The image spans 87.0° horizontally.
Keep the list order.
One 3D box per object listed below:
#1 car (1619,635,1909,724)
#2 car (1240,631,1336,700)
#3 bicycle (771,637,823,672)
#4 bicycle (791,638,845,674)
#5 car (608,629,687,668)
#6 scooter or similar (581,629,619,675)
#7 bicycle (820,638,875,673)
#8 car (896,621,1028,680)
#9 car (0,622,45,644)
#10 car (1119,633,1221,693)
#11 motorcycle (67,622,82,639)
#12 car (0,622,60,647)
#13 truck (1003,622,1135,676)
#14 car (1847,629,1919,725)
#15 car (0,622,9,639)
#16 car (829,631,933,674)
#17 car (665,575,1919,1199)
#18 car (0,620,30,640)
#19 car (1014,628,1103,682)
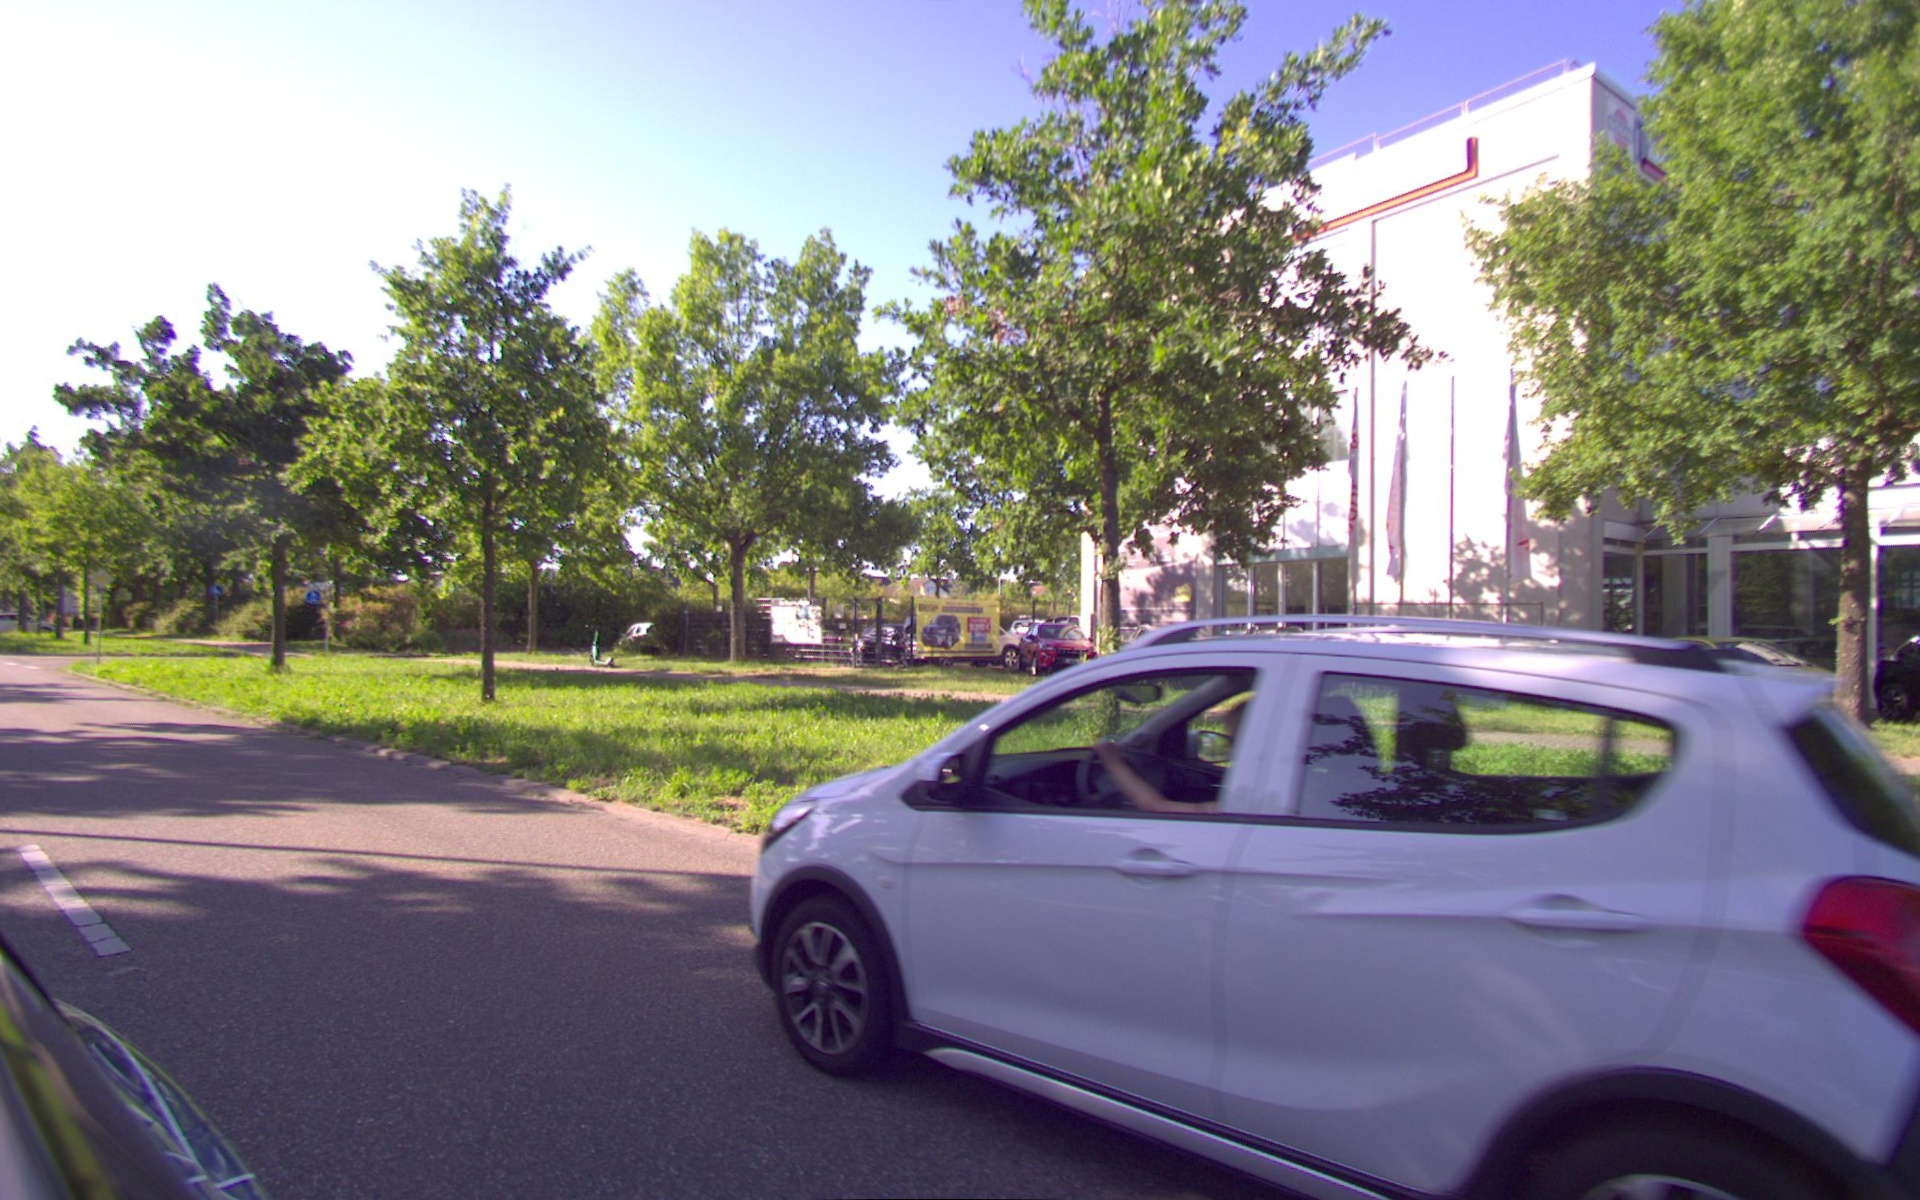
[{"bbox_3d":[14.087,1.336,18.101,1.972,1.412,3.953,0,-2,0],"label":"car"},{"bbox_3d":[7.911,1.551,24.743,1.783,1.523,3.984,-1,-2,12],"label":"car"},{"bbox_3d":[-5.384,1.787,33.437,1.890,1.096,0.632,-1,-3,41],"label":"bicycle"},{"bbox_3d":[-4.535,1.759,32.270,1.890,1.096,0.632,-1,-3,41],"label":"bicycle"},{"bbox_3d":[-13.212,2.054,42.630,1.967,1.516,3.925,2,-5,-37],"label":"car"},{"bbox_3d":[-10.312,1.476,28.968,1.441,1.289,0.390,-1,-3,43],"label":"scooter or similar"},{"bbox_3d":[-3.659,1.783,32.810,1.890,1.096,0.632,-1,-3,41],"label":"bicycle"},{"bbox_3d":[0.082,1.628,33.626,3.965,1.797,2.030,0,-1,-38],"label":"car"},{"bbox_3d":[-70.744,2.464,74.919,2.088,1.522,4.364,-2,-1,43],"label":"car"},{"bbox_3d":[5.492,1.619,27.008,1.775,1.459,4.001,1,-2,-2],"label":"car"},{"bbox_3d":[-74.697,2.572,85.370,1.992,1.443,0.729,-1,1,44],"label":"motorcycle"},{"bbox_3d":[-63.153,2.289,67.374,2.189,1.570,4.580,-2,-1,40],"label":"car"},{"bbox_3d":[3.993,1.716,36.615,4.614,1.797,2.030,0,-1,-38],"label":"truck"},{"bbox_3d":[16.587,1.234,15.717,1.870,1.550,4.169,0,-2,0],"label":"car"},{"bbox_3d":[-93.199,2.910,96.246,4.015,1.655,1.877,0,-1,-44],"label":"car"},{"bbox_3d":[-2.920,1.870,36.602,1.772,1.459,4.007,2,-3,-39],"label":"car"},{"bbox_3d":[1.160,0.761,2.957,4.424,1.476,1.726,-2,-4,40],"label":"car"},{"bbox_3d":[-78.267,2.426,81.941,4.362,1.568,2.089,0,-1,-45],"label":"car"},{"bbox_3d":[2.790,1.571,29.455,1.773,1.459,4.005,1,-2,-6],"label":"car"}]
